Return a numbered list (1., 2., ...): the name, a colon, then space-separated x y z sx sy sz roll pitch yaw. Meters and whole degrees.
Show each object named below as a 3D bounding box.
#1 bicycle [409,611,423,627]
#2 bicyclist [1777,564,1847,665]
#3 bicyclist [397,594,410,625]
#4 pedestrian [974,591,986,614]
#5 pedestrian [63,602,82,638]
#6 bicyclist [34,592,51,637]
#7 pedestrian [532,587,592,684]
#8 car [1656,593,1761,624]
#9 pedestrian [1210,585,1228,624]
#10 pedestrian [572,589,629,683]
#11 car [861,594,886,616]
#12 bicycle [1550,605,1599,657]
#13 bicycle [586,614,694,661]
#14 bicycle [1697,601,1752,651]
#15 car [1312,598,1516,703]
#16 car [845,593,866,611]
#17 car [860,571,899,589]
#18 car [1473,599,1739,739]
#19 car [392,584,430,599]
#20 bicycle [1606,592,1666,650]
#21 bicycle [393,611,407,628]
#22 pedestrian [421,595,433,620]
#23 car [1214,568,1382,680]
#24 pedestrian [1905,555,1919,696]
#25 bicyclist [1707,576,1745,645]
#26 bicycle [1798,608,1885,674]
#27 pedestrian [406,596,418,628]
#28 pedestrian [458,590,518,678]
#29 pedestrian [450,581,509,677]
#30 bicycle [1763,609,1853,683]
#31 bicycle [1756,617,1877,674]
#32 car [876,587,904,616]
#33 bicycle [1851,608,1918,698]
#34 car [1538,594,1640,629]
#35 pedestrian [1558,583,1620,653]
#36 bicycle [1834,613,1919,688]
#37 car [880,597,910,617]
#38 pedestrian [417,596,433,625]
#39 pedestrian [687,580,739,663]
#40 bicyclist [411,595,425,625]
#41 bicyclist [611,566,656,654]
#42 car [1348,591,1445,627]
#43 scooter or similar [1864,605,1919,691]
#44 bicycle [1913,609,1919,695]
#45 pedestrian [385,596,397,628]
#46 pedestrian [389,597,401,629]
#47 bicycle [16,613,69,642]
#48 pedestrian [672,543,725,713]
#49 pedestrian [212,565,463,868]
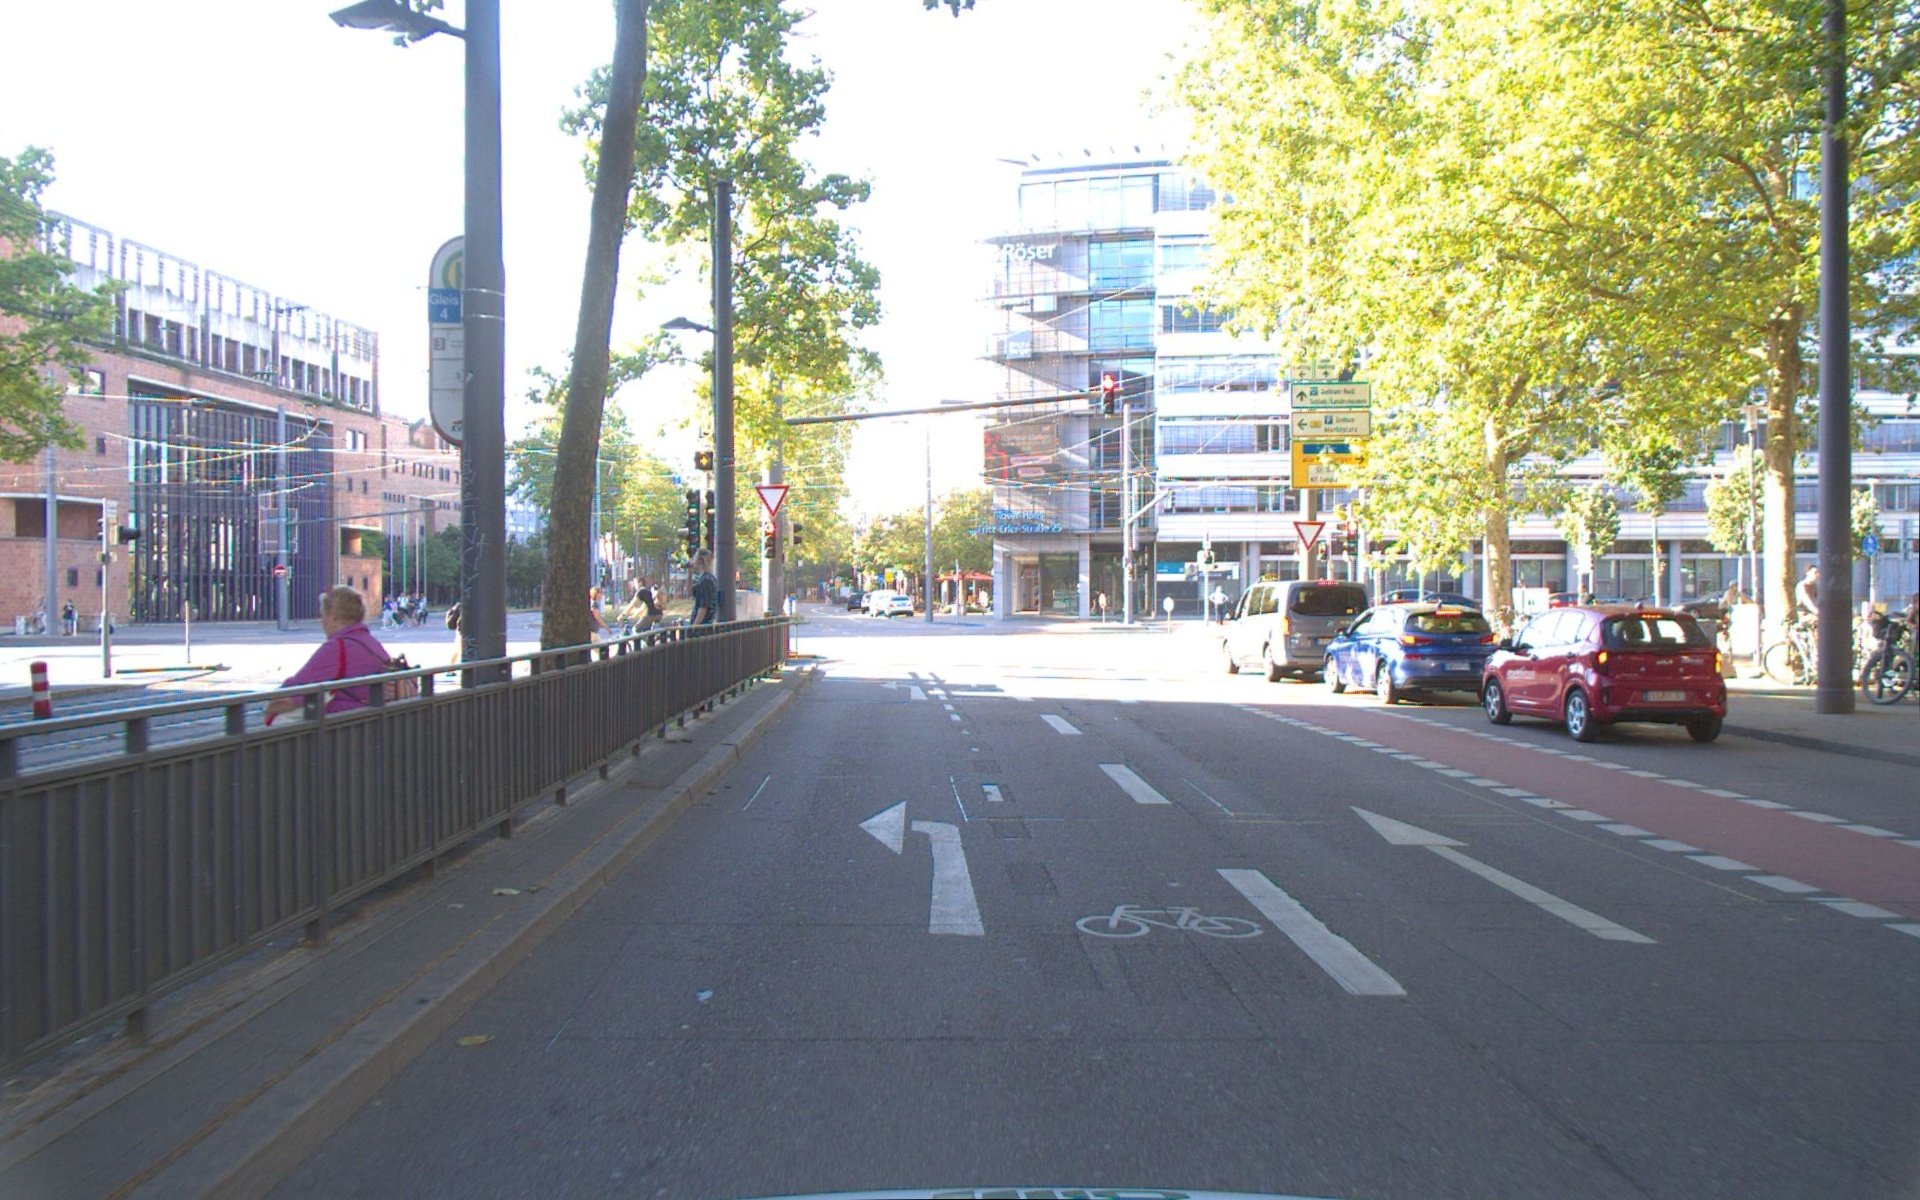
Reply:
1. bicycle: -30.934 1.080 94.056 0.503 0.897 1.834 -1 0 -12
2. bicyclist: 15.370 0.255 29.852 0.737 1.798 0.849 -1 0 -14
3. bicyclist: -31.567 0.541 93.815 0.582 1.705 0.788 -1 0 -10
4. pedestrian: 1.337 0.171 110.080 0.725 1.491 0.536 -1 0 -6
5. pedestrian: -40.557 0.917 75.590 0.532 1.642 0.570 -1 0 27
6. bicyclist: -42.574 0.666 76.739 0.558 2.096 0.444 0 0 -43
7. pedestrian: -8.060 0.711 33.538 1.124 1.927 0.831 1 -1 -11
8. car: 35.491 0.397 78.486 4.152 1.417 1.796 -1 0 3
9. pedestrian: 11.556 0.195 73.879 0.705 1.711 0.557 1 0 3
10. pedestrian: -7.138 0.719 32.877 1.052 1.837 0.756 1 -1 -11
11. car: -7.100 0.401 135.309 1.954 1.691 3.997 -1 0 -4
12. bicycle: 14.094 0.701 37.968 0.441 1.164 1.475 -1 0 -5
13. bicycle: -6.660 0.775 34.497 2.135 0.950 0.667 0 0 -6
14. bicycle: 18.343 0.606 39.700 0.554 1.146 1.779 -1 0 3
15. car: 7.015 0.719 25.993 1.730 1.490 4.213 -1 0 -5
16. car: -9.934 0.206 156.766 1.954 1.691 3.997 -1 0 -4
17. car: -8.282 -2.073 170.184 3.681 1.780 1.783 1 -1 11
18. car: 7.495 0.742 19.543 1.528 1.490 3.618 0 0 -4
19. car: -63.464 -0.956 191.234 3.954 1.579 1.587 2 -1 -35
20. bicycle: 15.577 0.473 38.164 0.441 1.309 1.885 -1 0 -5
21. bicycle: -31.711 1.110 93.694 0.503 0.897 1.834 -1 0 -12
22. pedestrian: -39.583 0.579 122.813 0.628 1.842 0.546 -1 0 3
23. car: 6.536 0.431 32.585 1.954 2.000 5.134 1 0 -4
24. pedestrian: 12.775 0.321 21.458 0.789 1.817 0.657 -1 0 22
25. bicyclist: 18.332 0.250 39.596 0.550 1.644 0.822 -1 0 3
26. bicycle: 14.472 0.658 27.194 0.451 1.044 1.570 -1 0 -6
27. pedestrian: -28.936 0.651 87.345 0.529 1.679 0.621 -1 0 -23
28. pedestrian: -9.310 0.673 32.660 1.053 1.711 0.756 1 -1 -11
29. pedestrian: -9.683 0.580 33.357 1.054 1.904 0.737 1 -1 -11
30. bicycle: 13.018 0.694 25.430 0.614 1.075 1.572 -1 0 2
31. bicycle: 15.392 0.800 29.794 0.654 0.950 2.176 0 0 -14
32. car: -5.098 0.119 119.875 1.954 2.026 3.997 -1 0 -4
33. bicycle: 12.344 0.686 22.120 0.583 1.135 1.825 -1 0 23
34. car: 29.691 0.519 78.126 4.152 1.587 1.796 -1 0 2
35. pedestrian: 16.902 0.479 44.481 1.186 1.854 1.040 1 -1 -9
36. bicycle: 14.061 0.753 25.362 0.412 1.100 1.475 -1 0 -5
37. car: -4.454 0.473 112.951 1.954 1.355 3.997 -1 0 -4
38. pedestrian: -29.158 0.551 90.165 0.741 1.557 0.506 1 0 -11
39. pedestrian: -5.259 0.461 35.241 1.053 1.745 0.627 1 -1 -8
40. bicyclist: -30.839 0.559 94.123 0.582 1.705 0.788 -1 0 -10
41. bicyclist: -6.796 0.205 34.481 0.833 1.816 0.752 -1 0 -6
42. car: 20.826 0.435 79.042 4.153 1.630 1.796 -1 0 2
43. scooter or similar: 13.511 0.693 23.134 1.233 1.162 0.912 3 -3 -17
44. bicycle: 12.800 0.695 21.387 0.583 1.135 1.948 -1 0 23
45. pedestrian: -29.762 0.635 86.551 0.529 1.679 0.621 -1 0 -23
46. pedestrian: -30.070 0.667 87.990 0.529 1.679 0.621 -1 0 -23
47. bicycle: -42.563 1.271 76.736 2.079 1.261 0.446 -1 0 -43
48. pedestrian: -3.047 0.323 19.318 0.499 1.933 0.759 1 -1 -3
49. pedestrian: -3.072 0.558 8.225 0.956 1.424 0.664 1 -1 1
